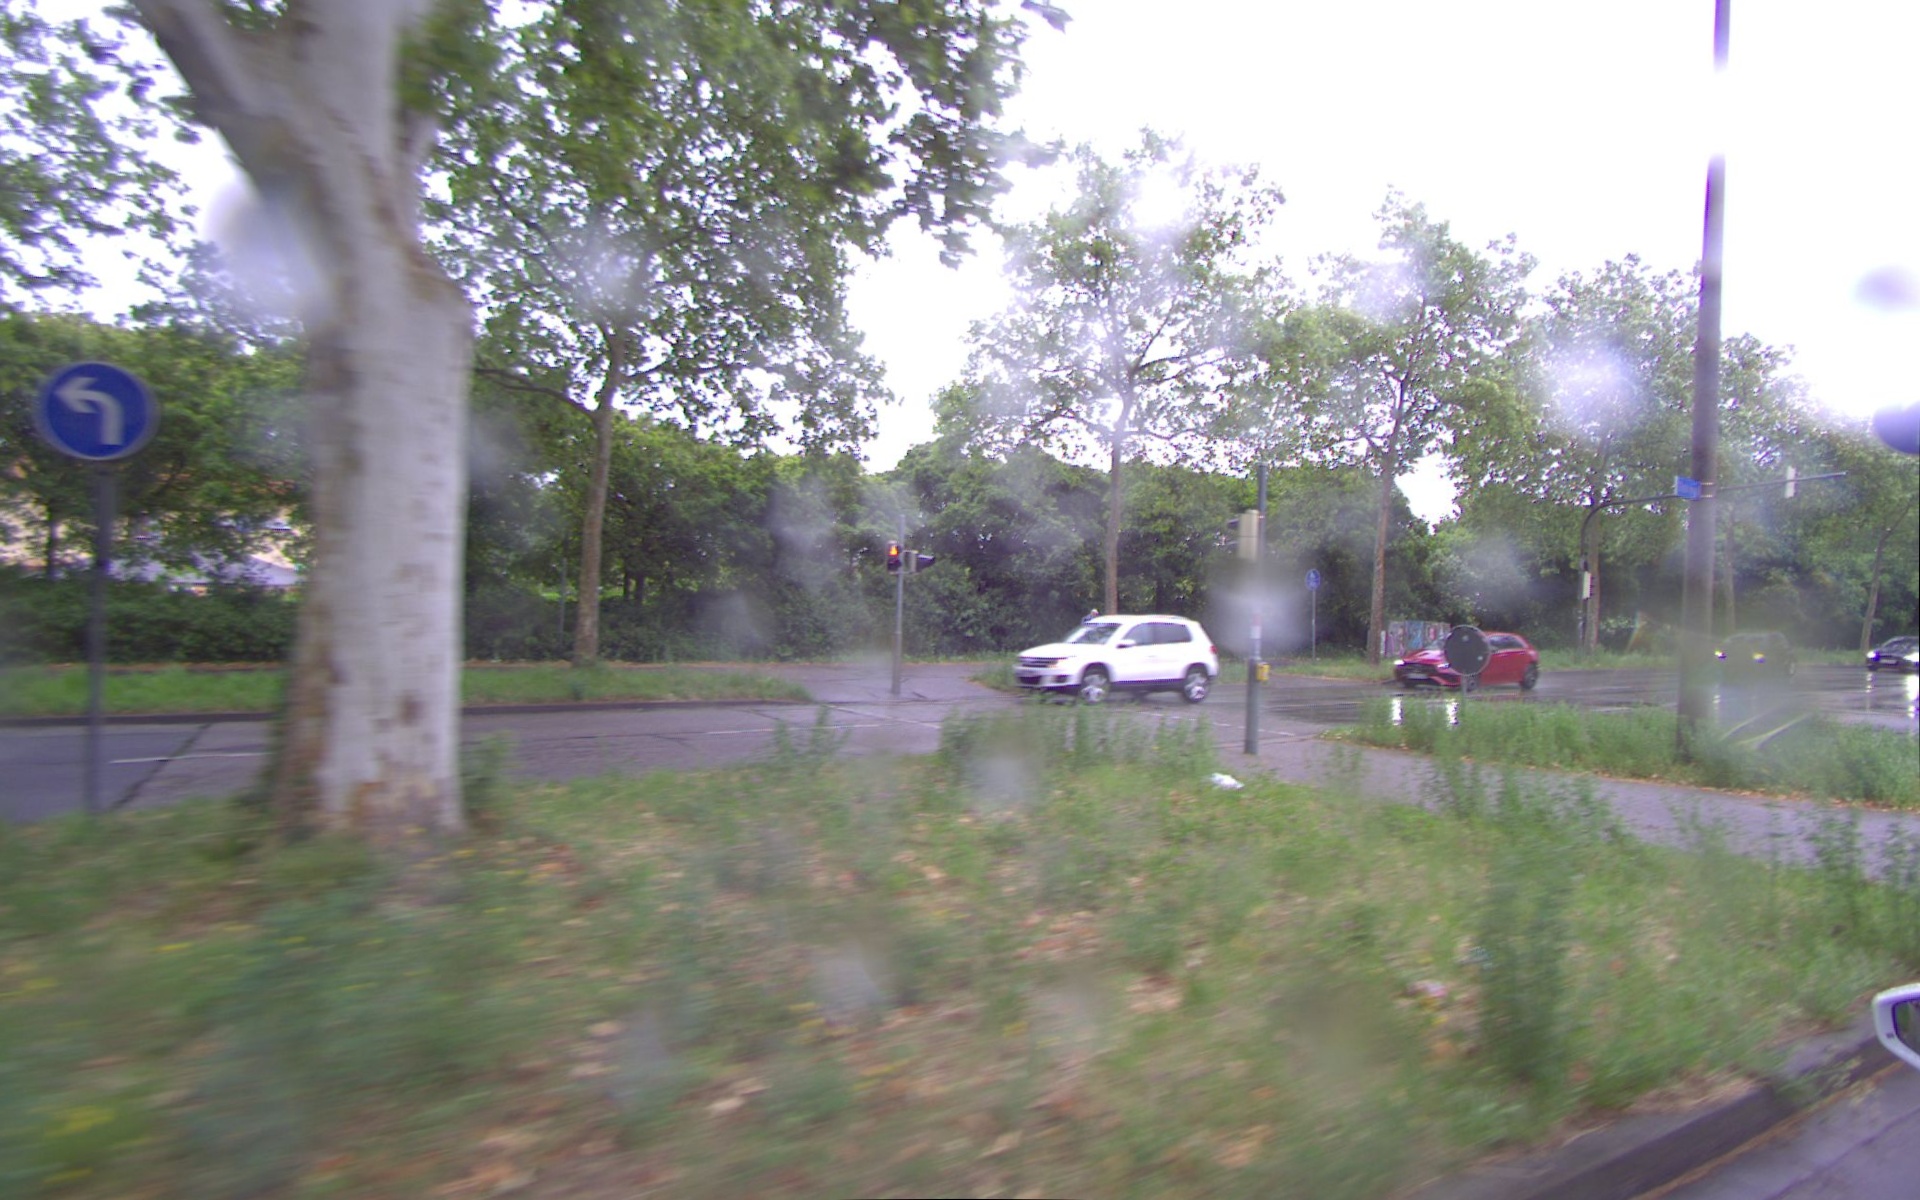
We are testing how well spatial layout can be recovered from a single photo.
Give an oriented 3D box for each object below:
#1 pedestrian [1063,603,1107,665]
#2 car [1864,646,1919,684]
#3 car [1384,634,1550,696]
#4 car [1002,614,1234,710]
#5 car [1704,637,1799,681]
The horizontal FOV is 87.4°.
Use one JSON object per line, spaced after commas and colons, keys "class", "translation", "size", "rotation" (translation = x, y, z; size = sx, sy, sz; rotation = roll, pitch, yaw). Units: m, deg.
{"class": "pedestrian", "translation": [3.500, 0.960, 28.159], "size": [0.889, 1.696, 0.826], "rotation": [2, 0, -31]}
{"class": "car", "translation": [38.455, 2.609, 40.665], "size": [4.212, 1.391, 1.579], "rotation": [2, -1, -30]}
{"class": "car", "translation": [13.035, 1.637, 25.738], "size": [4.394, 1.426, 1.734], "rotation": [2, -1, -31]}
{"class": "car", "translation": [3.117, 1.163, 19.514], "size": [4.396, 1.653, 1.733], "rotation": [2, -1, -33]}
{"class": "car", "translation": [27.398, 2.042, 34.753], "size": [3.298, 1.391, 1.578], "rotation": [2, -1, -33]}
